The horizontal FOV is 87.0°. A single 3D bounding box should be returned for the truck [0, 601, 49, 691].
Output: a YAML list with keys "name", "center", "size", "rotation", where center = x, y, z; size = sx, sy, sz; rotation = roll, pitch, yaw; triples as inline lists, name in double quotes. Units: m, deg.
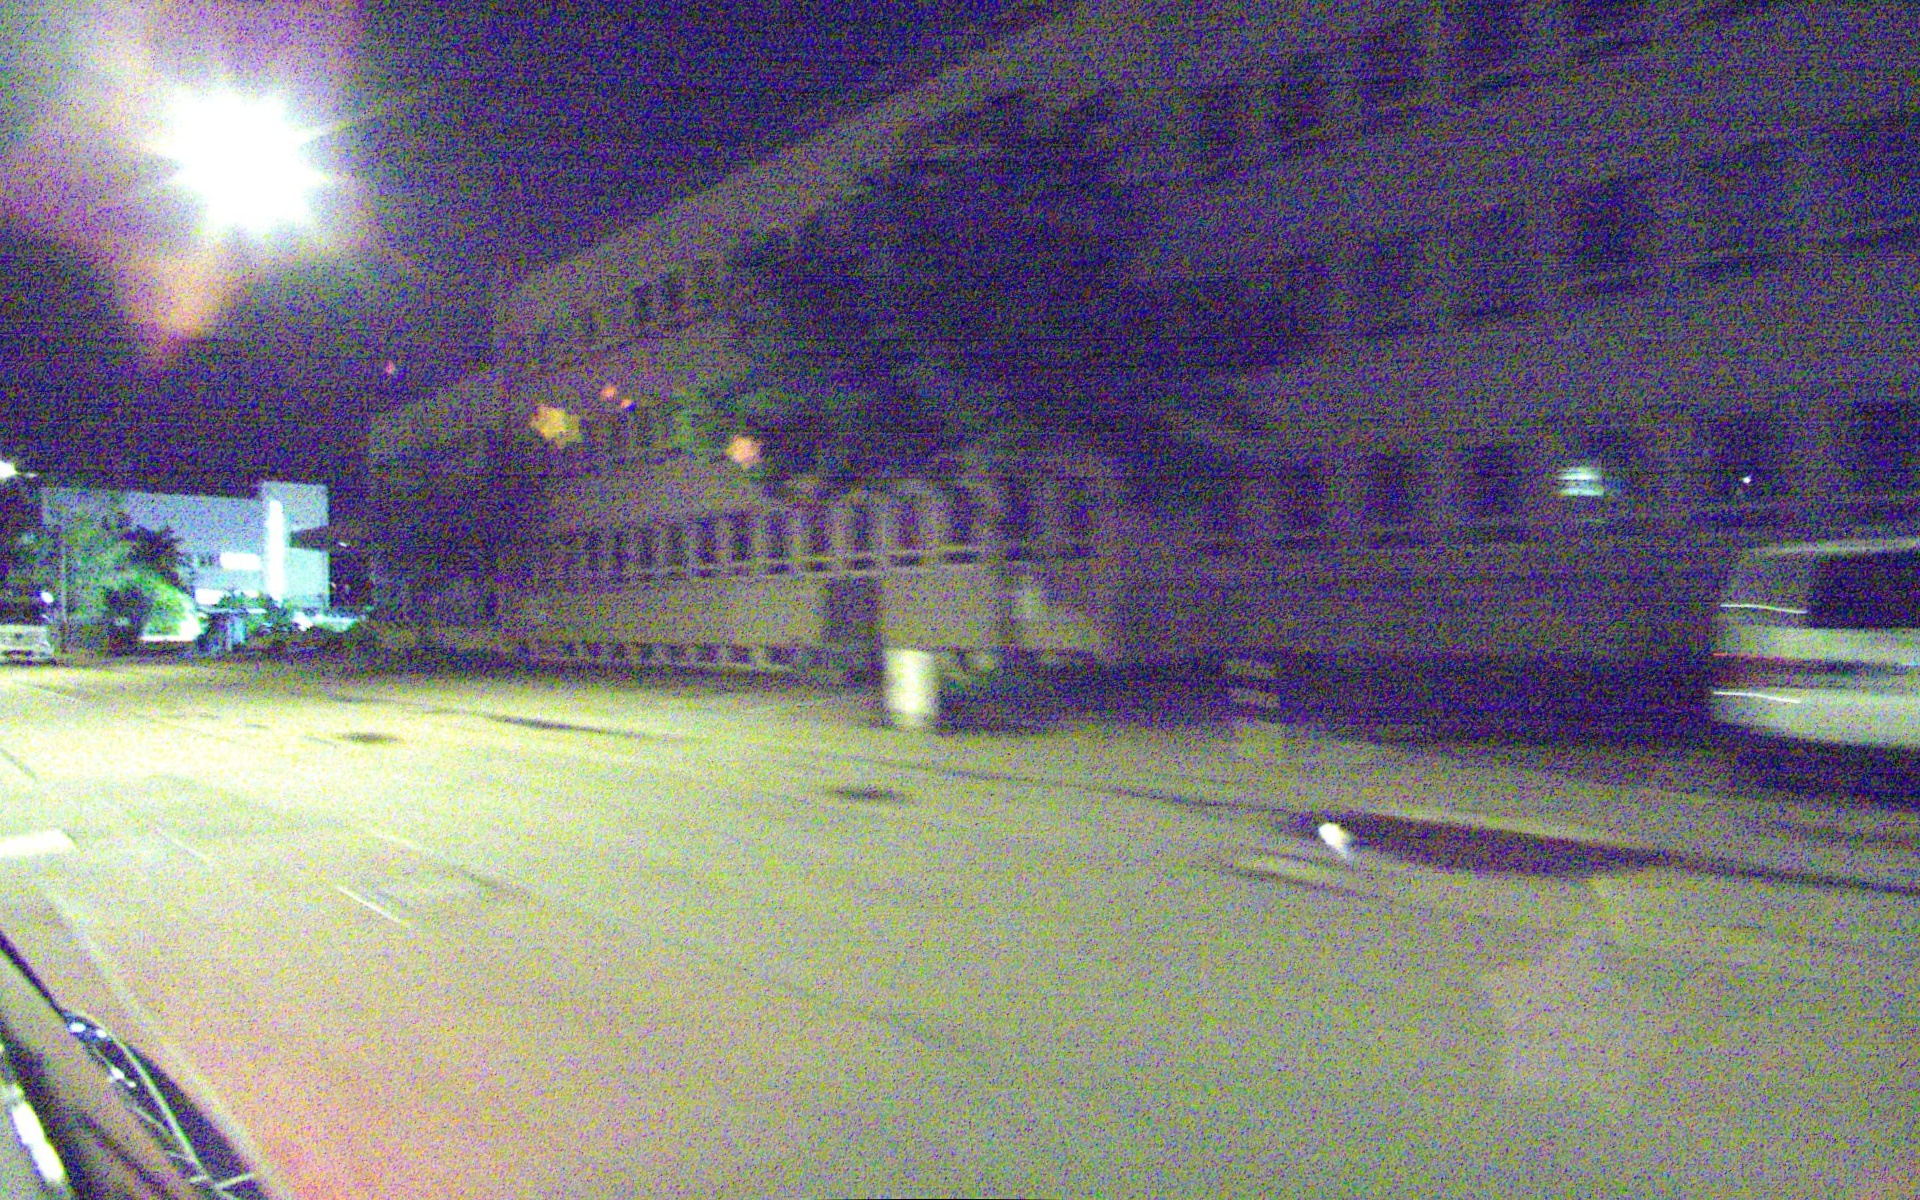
- name: "truck"
  center: [-50.382, 2.275, 53.404]
  size: [12.828, 4.347, 2.608]
  rotation: [-1, -2, 44]

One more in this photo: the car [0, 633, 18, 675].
- name: "car"
  center: [-57.121, 3.188, 59.548]
  size: [4.468, 2.330, 2.116]
  rotation: [-2, 0, 43]

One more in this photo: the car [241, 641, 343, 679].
- name: "car"
  center: [-34.116, 3.019, 51.750]
  size: [1.804, 1.474, 3.950]
  rotation: [-2, 3, 39]

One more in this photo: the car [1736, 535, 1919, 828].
- name: "car"
  center: [7.955, 0.494, 8.490]
  size: [1.999, 1.987, 4.386]
  rotation: [-2, 0, 41]
